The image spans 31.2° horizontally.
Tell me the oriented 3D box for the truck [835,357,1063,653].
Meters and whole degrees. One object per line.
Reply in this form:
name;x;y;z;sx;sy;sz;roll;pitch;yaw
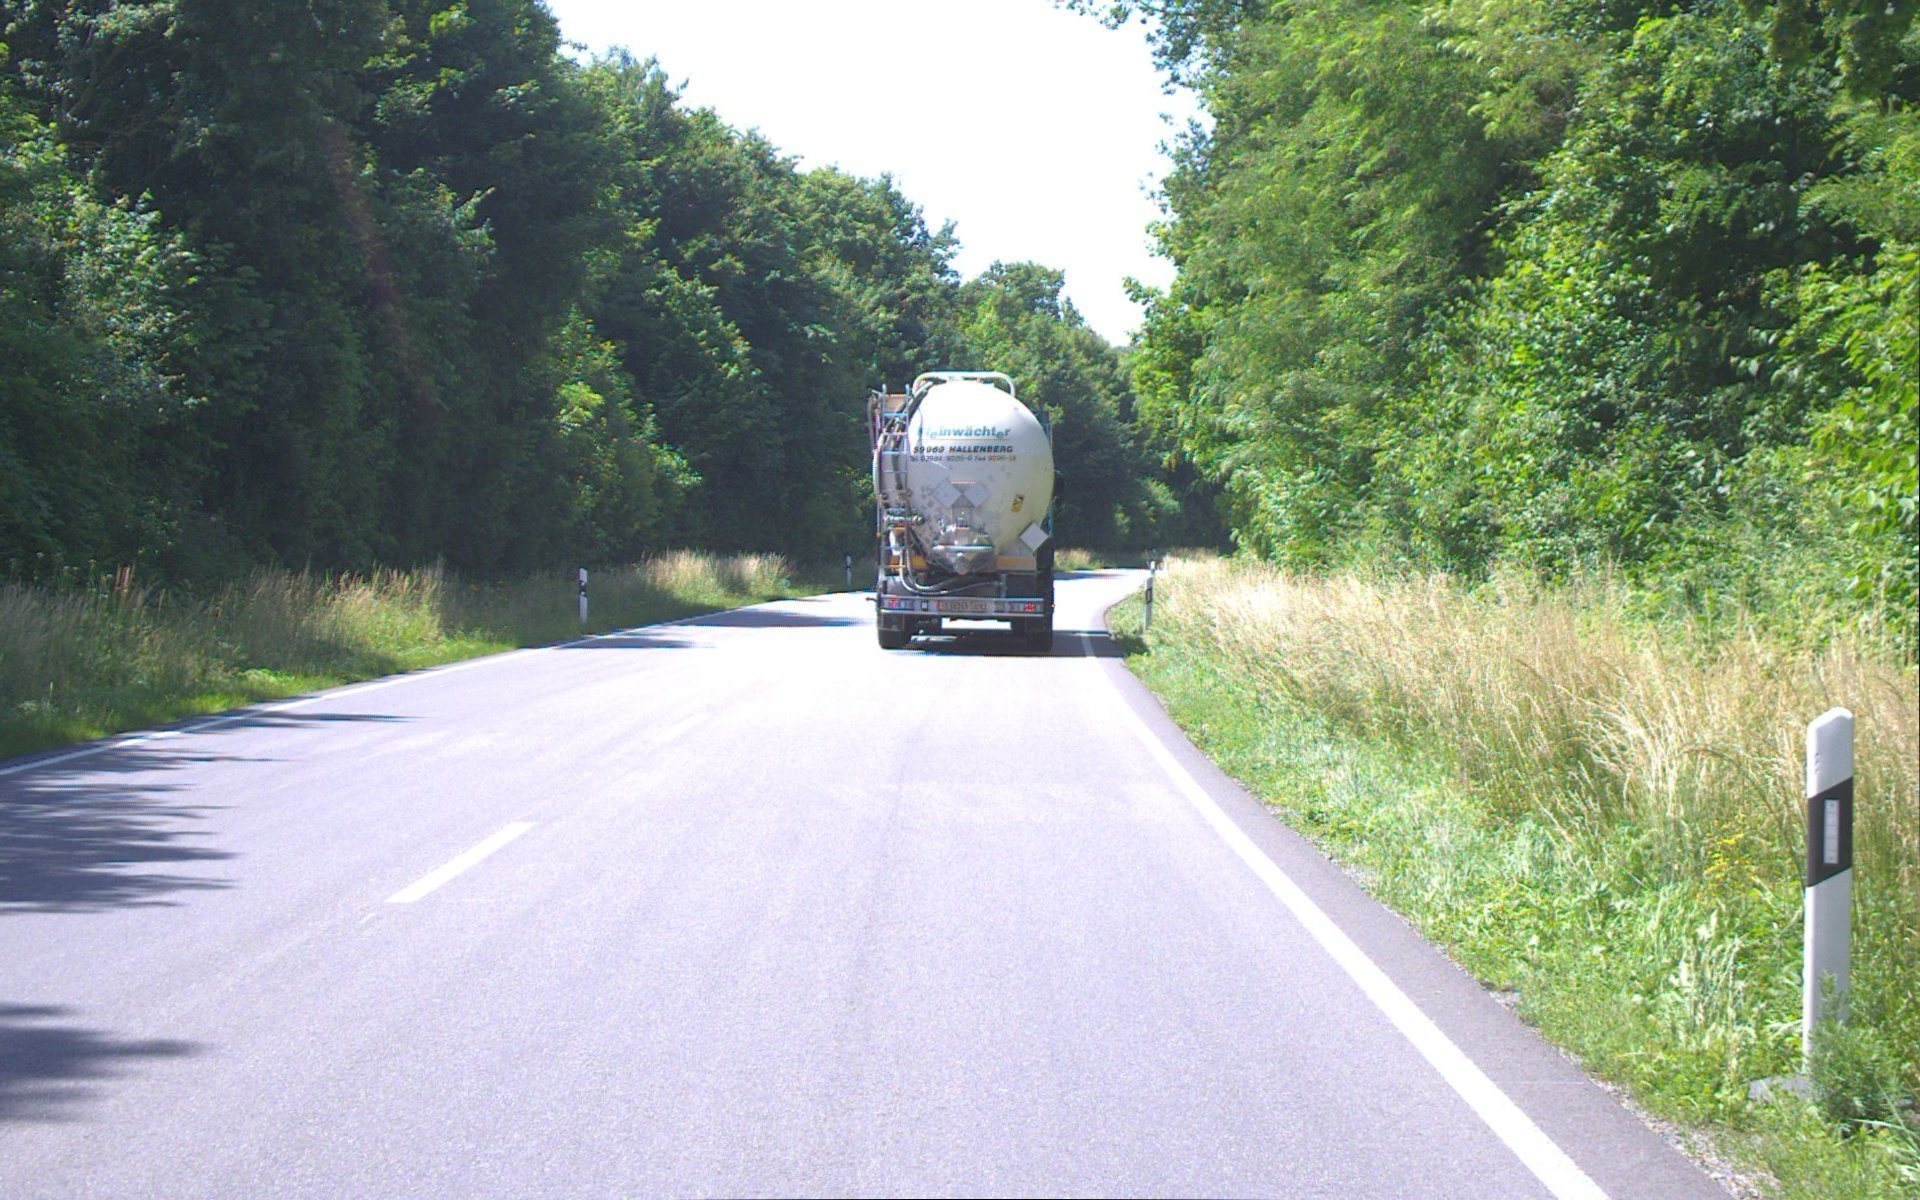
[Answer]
truck;-0.293;-1.448;54.622;3.049;3.984;15.638;1;1;-1
